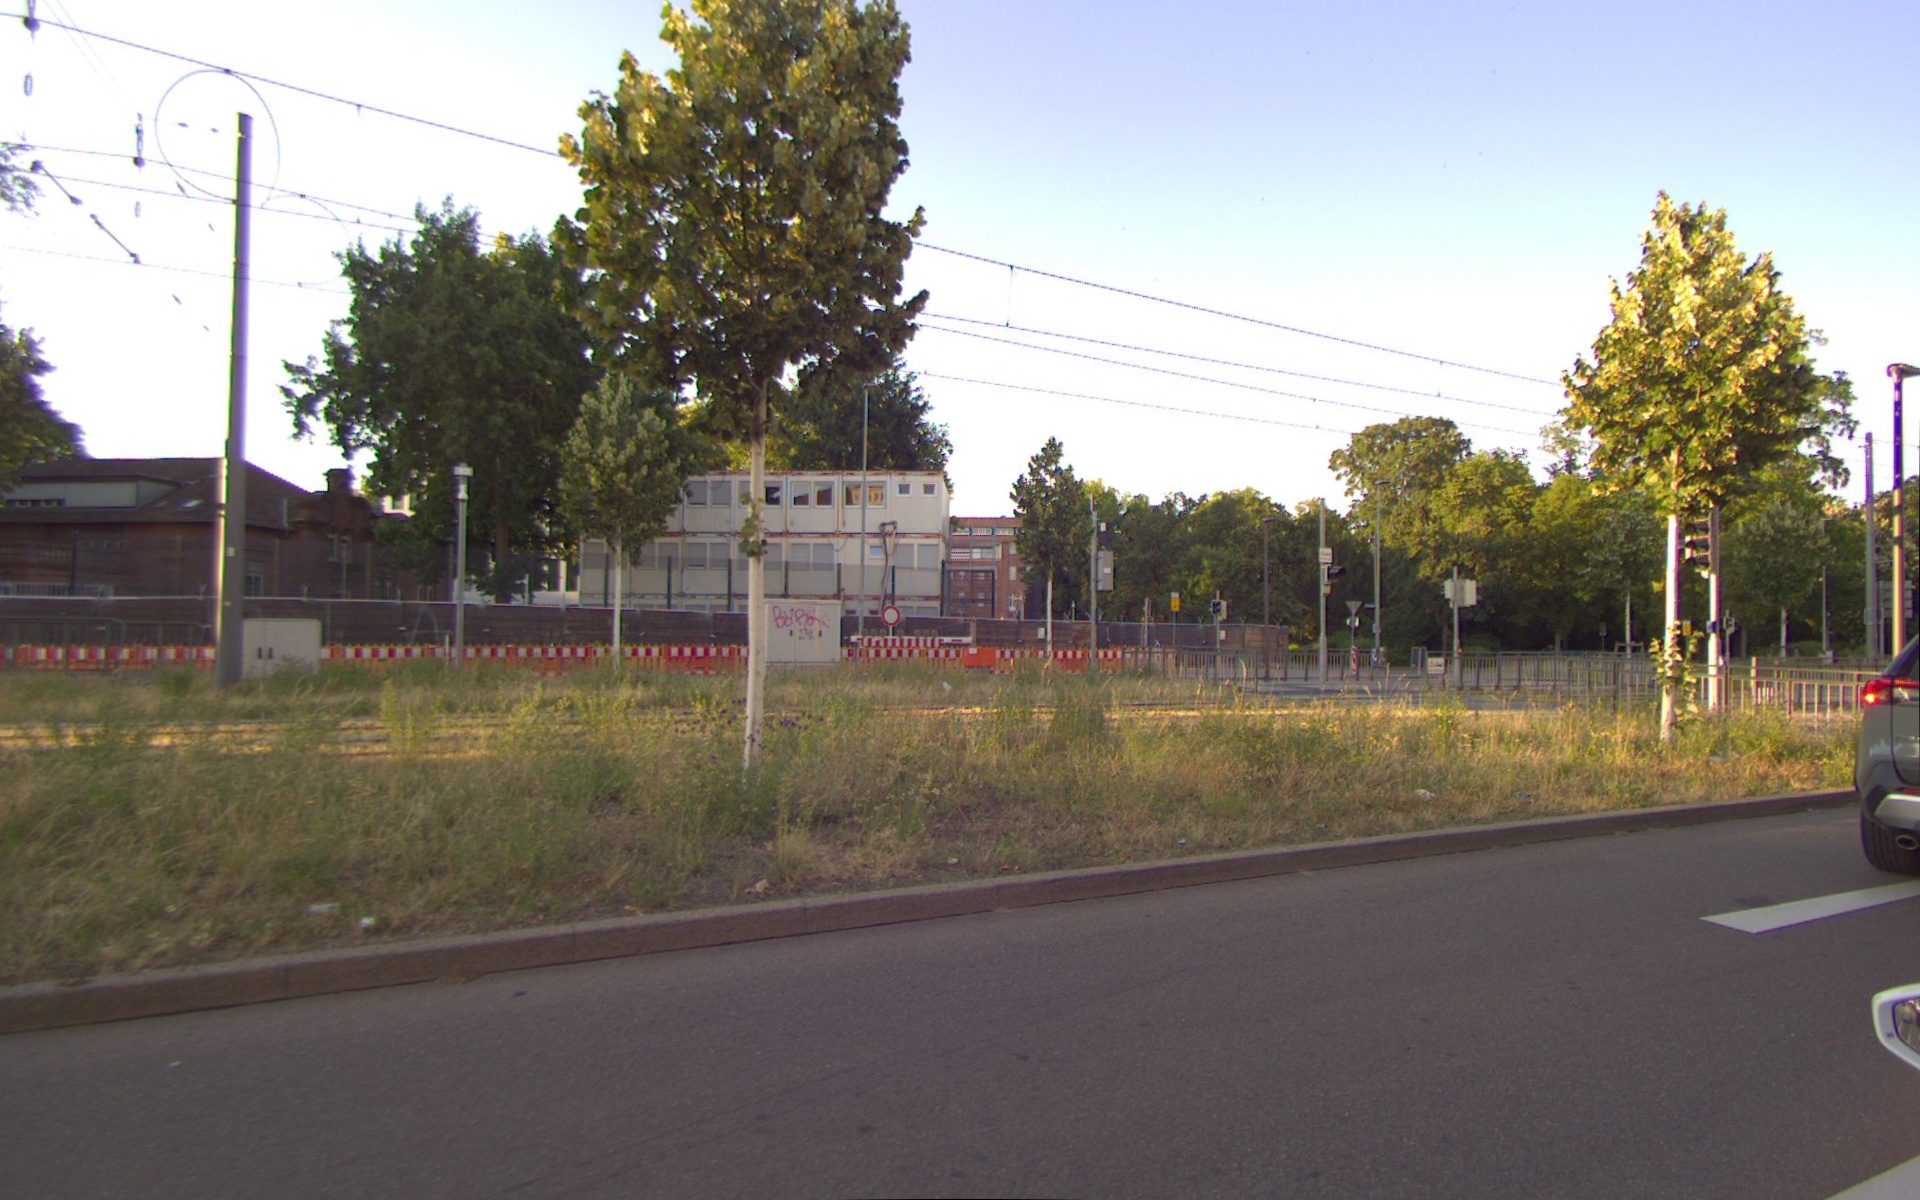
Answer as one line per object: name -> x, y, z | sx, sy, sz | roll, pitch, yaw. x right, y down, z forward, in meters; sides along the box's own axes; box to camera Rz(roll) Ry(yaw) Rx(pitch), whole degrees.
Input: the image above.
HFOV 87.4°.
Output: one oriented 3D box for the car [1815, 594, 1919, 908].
car -> 7.151, 0.818, 6.135 | 4.222, 1.681, 1.844 | 0, 0, -33
